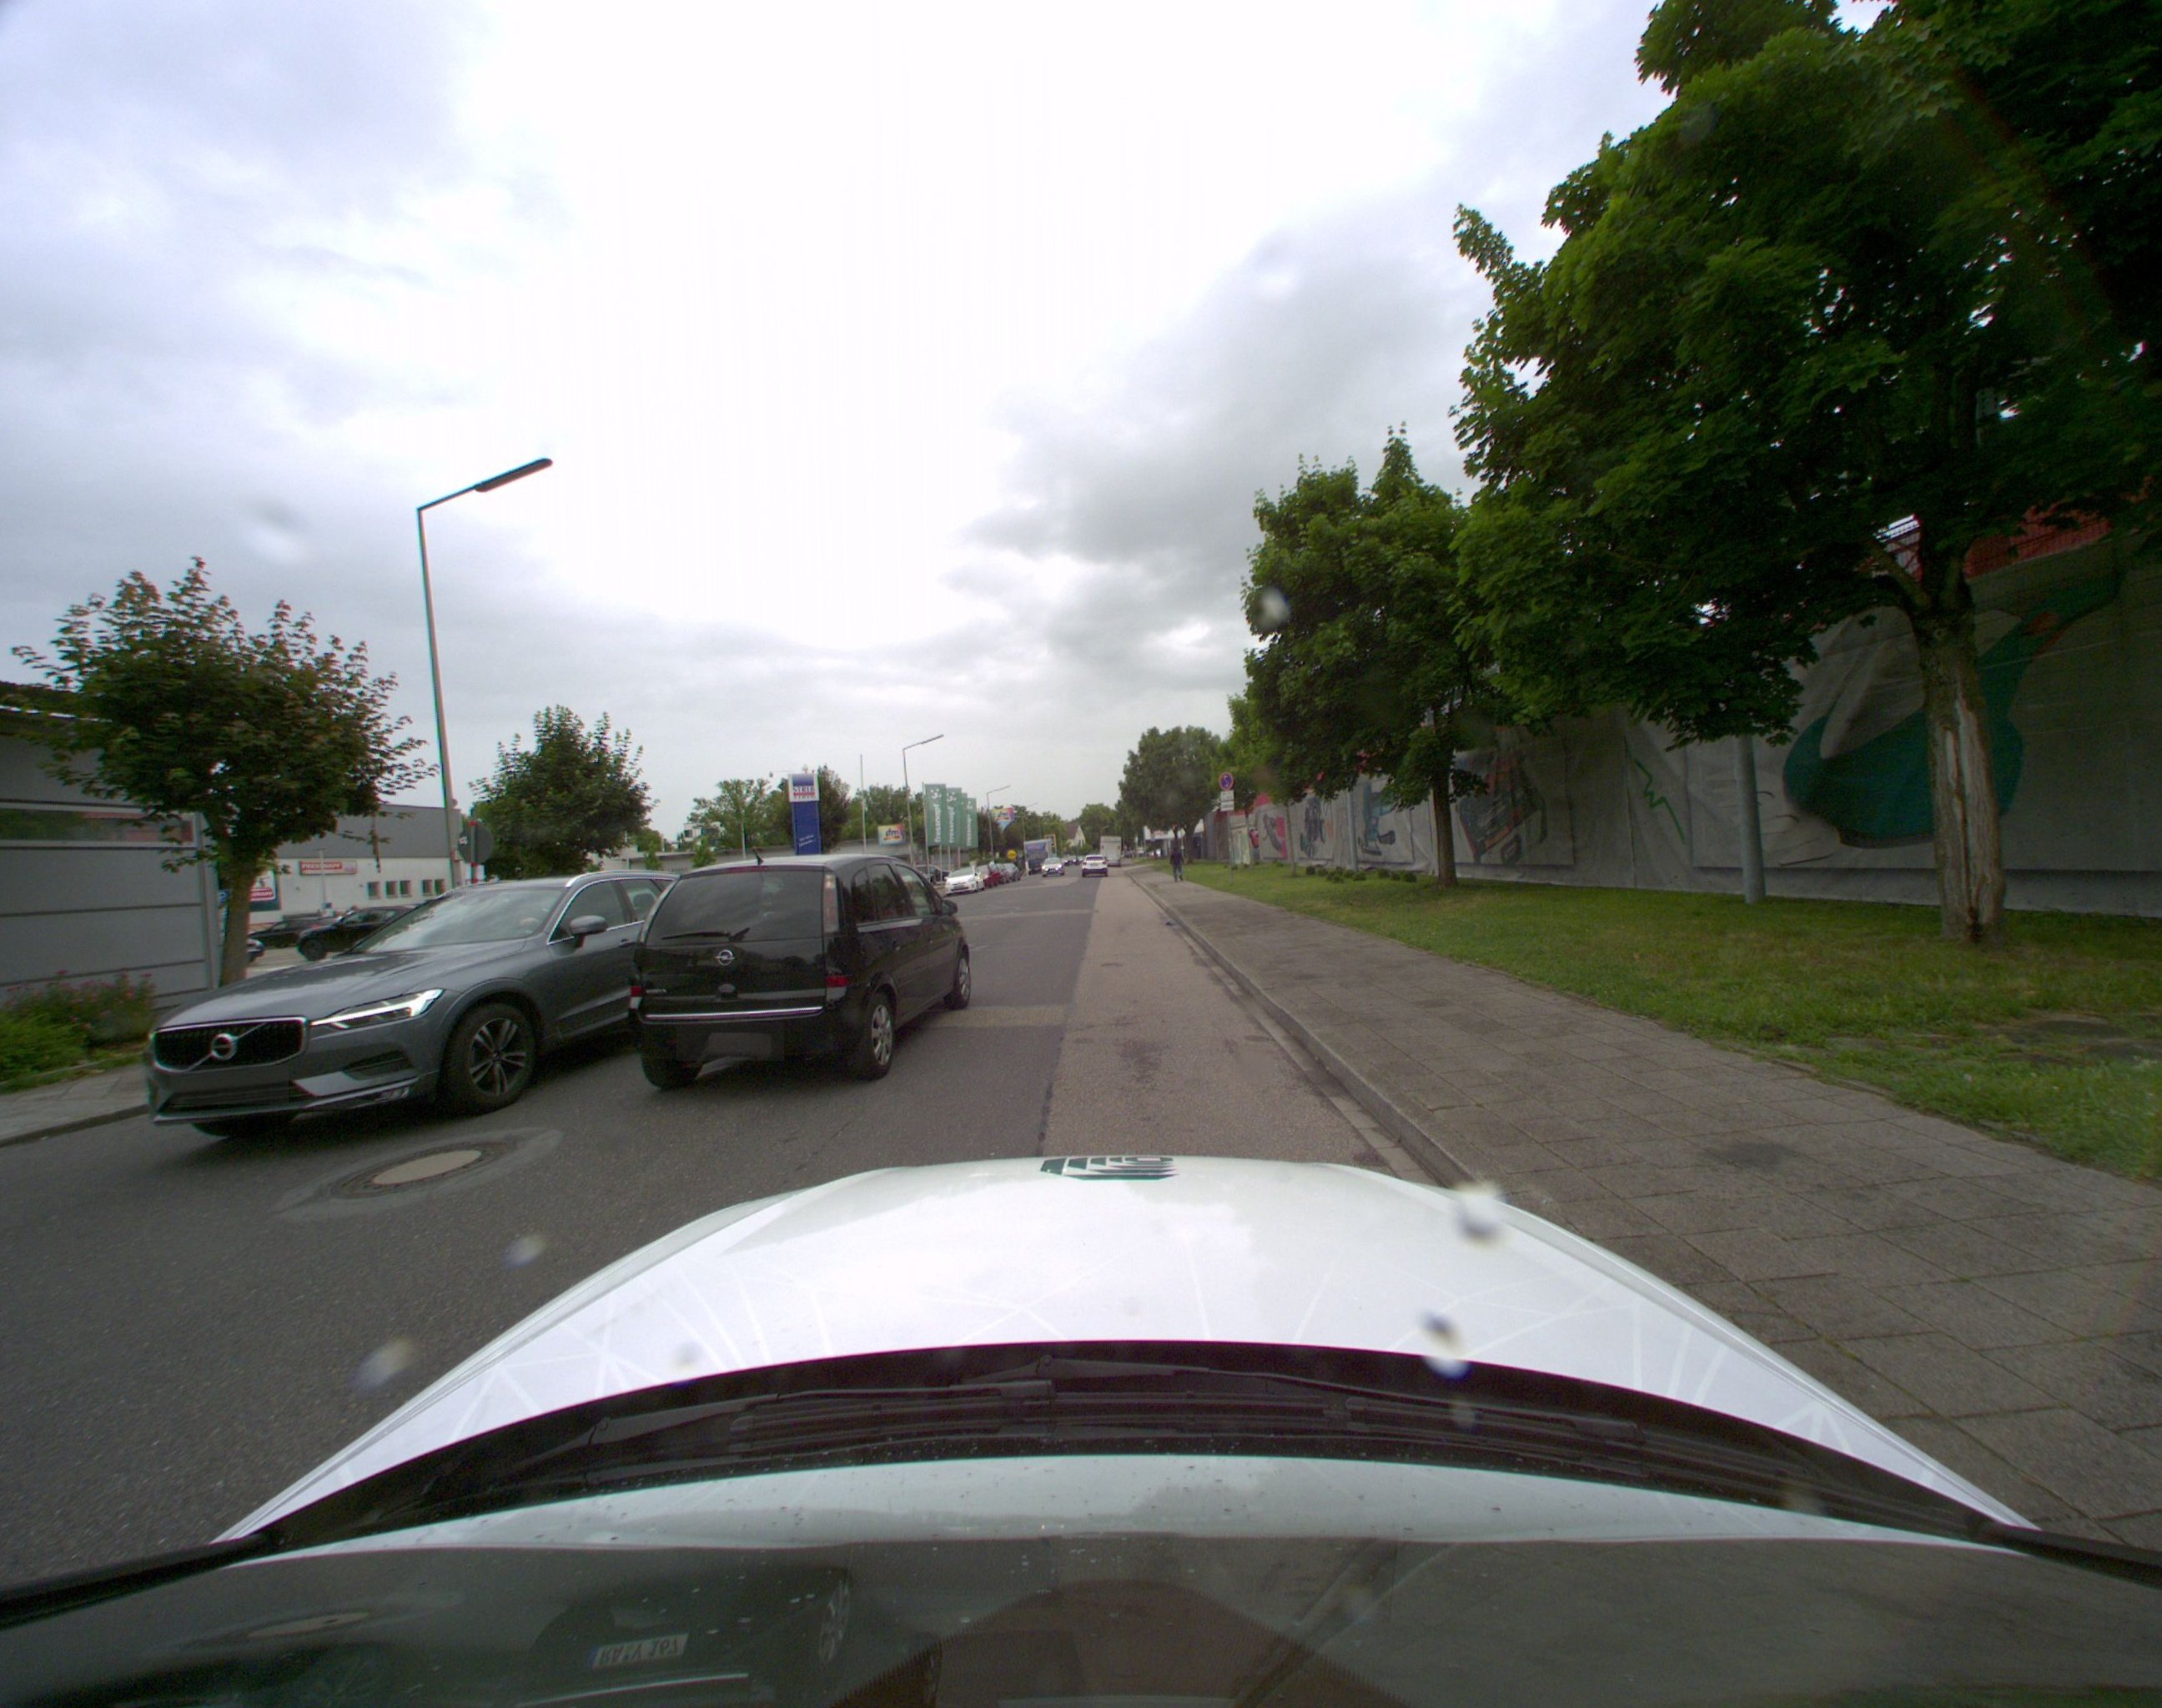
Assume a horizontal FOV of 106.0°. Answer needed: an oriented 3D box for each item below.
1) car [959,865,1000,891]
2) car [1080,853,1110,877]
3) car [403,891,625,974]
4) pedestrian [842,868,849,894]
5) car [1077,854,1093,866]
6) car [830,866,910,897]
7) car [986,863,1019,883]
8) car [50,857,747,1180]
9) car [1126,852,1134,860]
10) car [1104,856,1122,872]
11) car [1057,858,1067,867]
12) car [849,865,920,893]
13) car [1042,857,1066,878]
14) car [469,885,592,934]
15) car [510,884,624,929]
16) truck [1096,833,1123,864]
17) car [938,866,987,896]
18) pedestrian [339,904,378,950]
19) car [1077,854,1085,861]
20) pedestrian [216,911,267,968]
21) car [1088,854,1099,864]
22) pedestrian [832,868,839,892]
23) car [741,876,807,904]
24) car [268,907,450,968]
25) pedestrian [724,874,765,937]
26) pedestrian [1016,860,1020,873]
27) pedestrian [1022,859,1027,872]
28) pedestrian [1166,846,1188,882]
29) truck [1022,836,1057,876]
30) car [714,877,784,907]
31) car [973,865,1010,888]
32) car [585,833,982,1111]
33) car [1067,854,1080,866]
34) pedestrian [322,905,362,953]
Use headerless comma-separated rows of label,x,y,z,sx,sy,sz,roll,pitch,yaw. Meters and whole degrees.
car,-6.434,1.503,52.074,1.891,1.367,4.002,-4,0,2
car,1.005,0.725,56.980,1.879,1.531,4.257,-2,0,3
car,-13.395,1.822,19.404,3.859,1.620,1.929,-3,0,2
pedestrian,-15.627,1.797,54.033,0.263,1.729,0.421,-4,0,-10
car,0.593,0.813,111.587,1.931,1.367,4.001,-5,0,1
car,-12.365,1.584,47.891,4.198,1.463,1.949,-4,0,-6
car,-6.078,1.452,63.488,1.891,1.367,4.002,-4,0,2
car,-4.890,0.965,6.969,1.926,1.683,4.497,-5,0,2
car,11.963,0.471,200.116,1.879,1.683,4.257,-2,0,3
car,3.755,1.169,96.185,1.987,1.806,4.000,-3,-1,1
car,-3.280,1.422,140.002,1.617,1.375,3.453,-3,-1,1
car,-12.705,1.620,52.811,4.127,1.463,1.896,-5,0,-4
car,-2.174,1.078,66.431,1.592,1.528,3.530,-6,-1,2
car,-23.956,2.392,35.525,3.972,1.669,1.877,-5,0,1
car,-23.894,2.421,37.939,3.972,1.669,1.877,-5,0,1
truck,3.639,-0.620,105.313,3.124,3.585,10.050,-3,-1,1
car,-6.548,1.466,45.459,1.891,1.367,4.002,-4,0,2
pedestrian,-28.289,2.856,31.896,0.797,1.715,0.696,-3,0,-3
car,0.046,0.773,174.085,1.536,1.365,3.430,-3,-1,2
pedestrian,-26.621,2.699,25.840,0.799,1.715,0.695,-3,0,-8
car,2.254,0.938,148.649,1.863,1.662,4.000,-3,0,0
pedestrian,-16.287,1.743,54.021,0.330,1.570,0.502,-3,0,-12
car,-22.240,2.615,59.123,3.972,1.669,1.877,-5,0,1
car,-23.740,2.698,26.952,3.999,1.485,1.865,-4,0,-18
pedestrian,-9.542,1.451,23.110,0.773,1.715,0.696,-4,0,-3
pedestrian,-7.602,1.502,97.955,0.401,1.531,0.484,-5,0,-4
pedestrian,-7.067,1.421,101.747,0.401,1.531,0.485,-5,0,-4
pedestrian,4.495,0.465,38.249,0.915,1.635,0.853,-3,-1,3
truck,-4.566,0.211,91.047,2.962,3.955,6.408,-6,0,2
car,-23.115,2.631,56.810,3.972,1.669,1.877,-5,0,1
car,-6.297,1.563,57.588,1.891,1.367,4.002,-4,0,2
car,-2.116,0.744,7.004,1.673,1.632,3.763,-5,0,4
car,-1.234,0.954,130.992,1.987,1.684,4.000,-3,-1,1
pedestrian,-28.028,2.831,30.881,0.797,1.715,0.696,-3,0,-3
